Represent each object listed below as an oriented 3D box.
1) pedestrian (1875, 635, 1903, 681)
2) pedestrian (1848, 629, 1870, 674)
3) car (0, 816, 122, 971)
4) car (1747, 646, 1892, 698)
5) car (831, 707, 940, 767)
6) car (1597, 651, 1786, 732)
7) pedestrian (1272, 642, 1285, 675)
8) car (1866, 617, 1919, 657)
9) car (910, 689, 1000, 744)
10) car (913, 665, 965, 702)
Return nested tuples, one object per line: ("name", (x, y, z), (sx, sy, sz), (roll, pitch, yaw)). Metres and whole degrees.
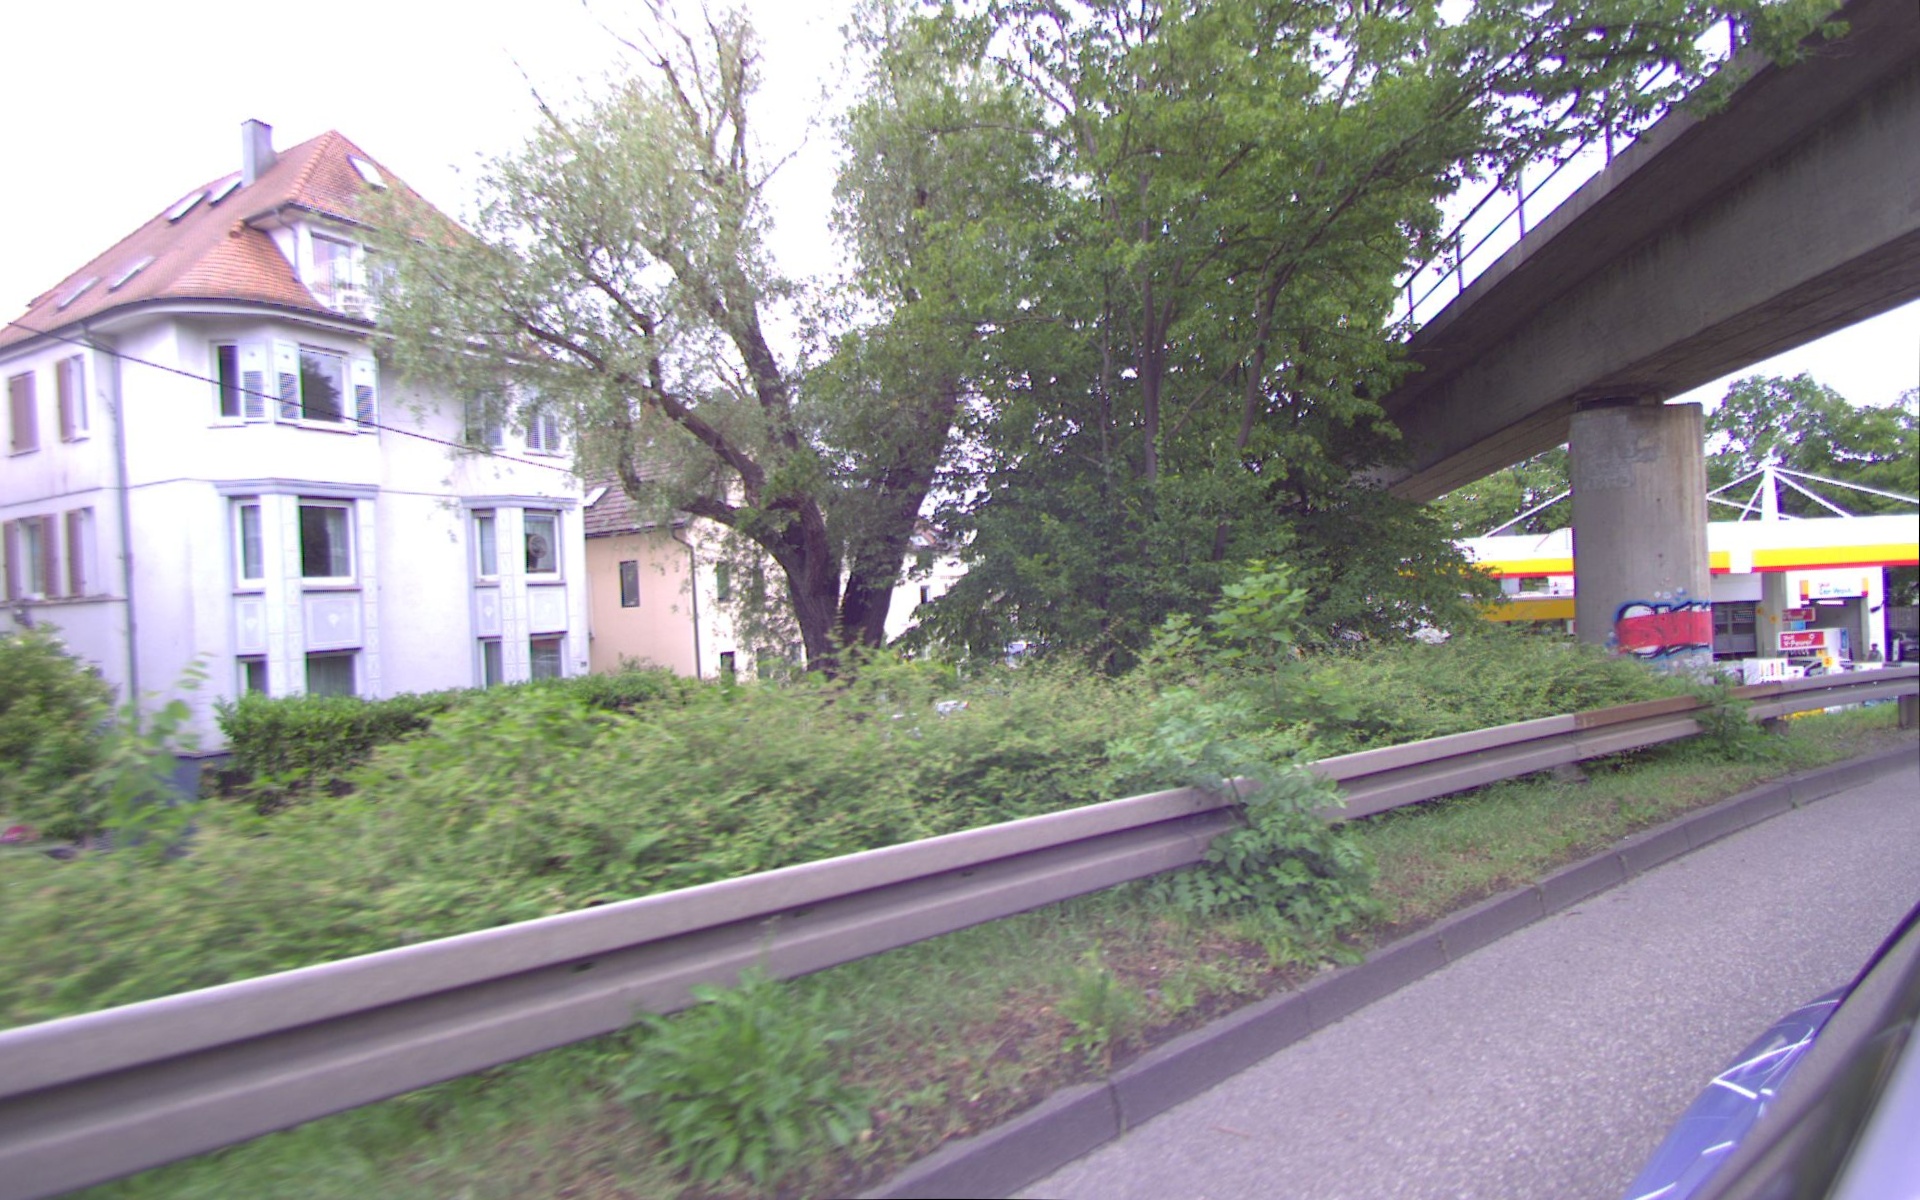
("pedestrian", (35.695, 2.236, 38.886), (0.597, 1.726, 0.545), (1, 0, -10))
("pedestrian", (35.025, 1.993, 39.435), (0.424, 1.726, 0.492), (0, 0, 4))
("car", (-11.988, 3.491, 11.106), (1.608, 1.467, 4.018), (-3, -3, 27))
("car", (30.845, 2.571, 36.370), (3.801, 1.504, 1.743), (-3, 1, -5))
("car", (-2.172, 4.052, 30.378), (1.633, 1.413, 3.736), (-3, -3, 25))
("car", (22.402, 2.773, 31.082), (4.619, 2.035, 1.743), (-3, 0, -6))
("pedestrian", (16.104, 2.936, 51.204), (0.500, 1.615, 0.425), (-2, 2, 6))
("car", (44.120, 1.682, 46.842), (1.701, 1.453, 4.084), (-1, 3, 18))
("car", (-0.099, 3.989, 35.093), (1.605, 1.541, 4.270), (-3, -3, 22))
("car", (-0.873, 3.620, 44.165), (1.576, 1.367, 3.575), (-4, -3, 9))
